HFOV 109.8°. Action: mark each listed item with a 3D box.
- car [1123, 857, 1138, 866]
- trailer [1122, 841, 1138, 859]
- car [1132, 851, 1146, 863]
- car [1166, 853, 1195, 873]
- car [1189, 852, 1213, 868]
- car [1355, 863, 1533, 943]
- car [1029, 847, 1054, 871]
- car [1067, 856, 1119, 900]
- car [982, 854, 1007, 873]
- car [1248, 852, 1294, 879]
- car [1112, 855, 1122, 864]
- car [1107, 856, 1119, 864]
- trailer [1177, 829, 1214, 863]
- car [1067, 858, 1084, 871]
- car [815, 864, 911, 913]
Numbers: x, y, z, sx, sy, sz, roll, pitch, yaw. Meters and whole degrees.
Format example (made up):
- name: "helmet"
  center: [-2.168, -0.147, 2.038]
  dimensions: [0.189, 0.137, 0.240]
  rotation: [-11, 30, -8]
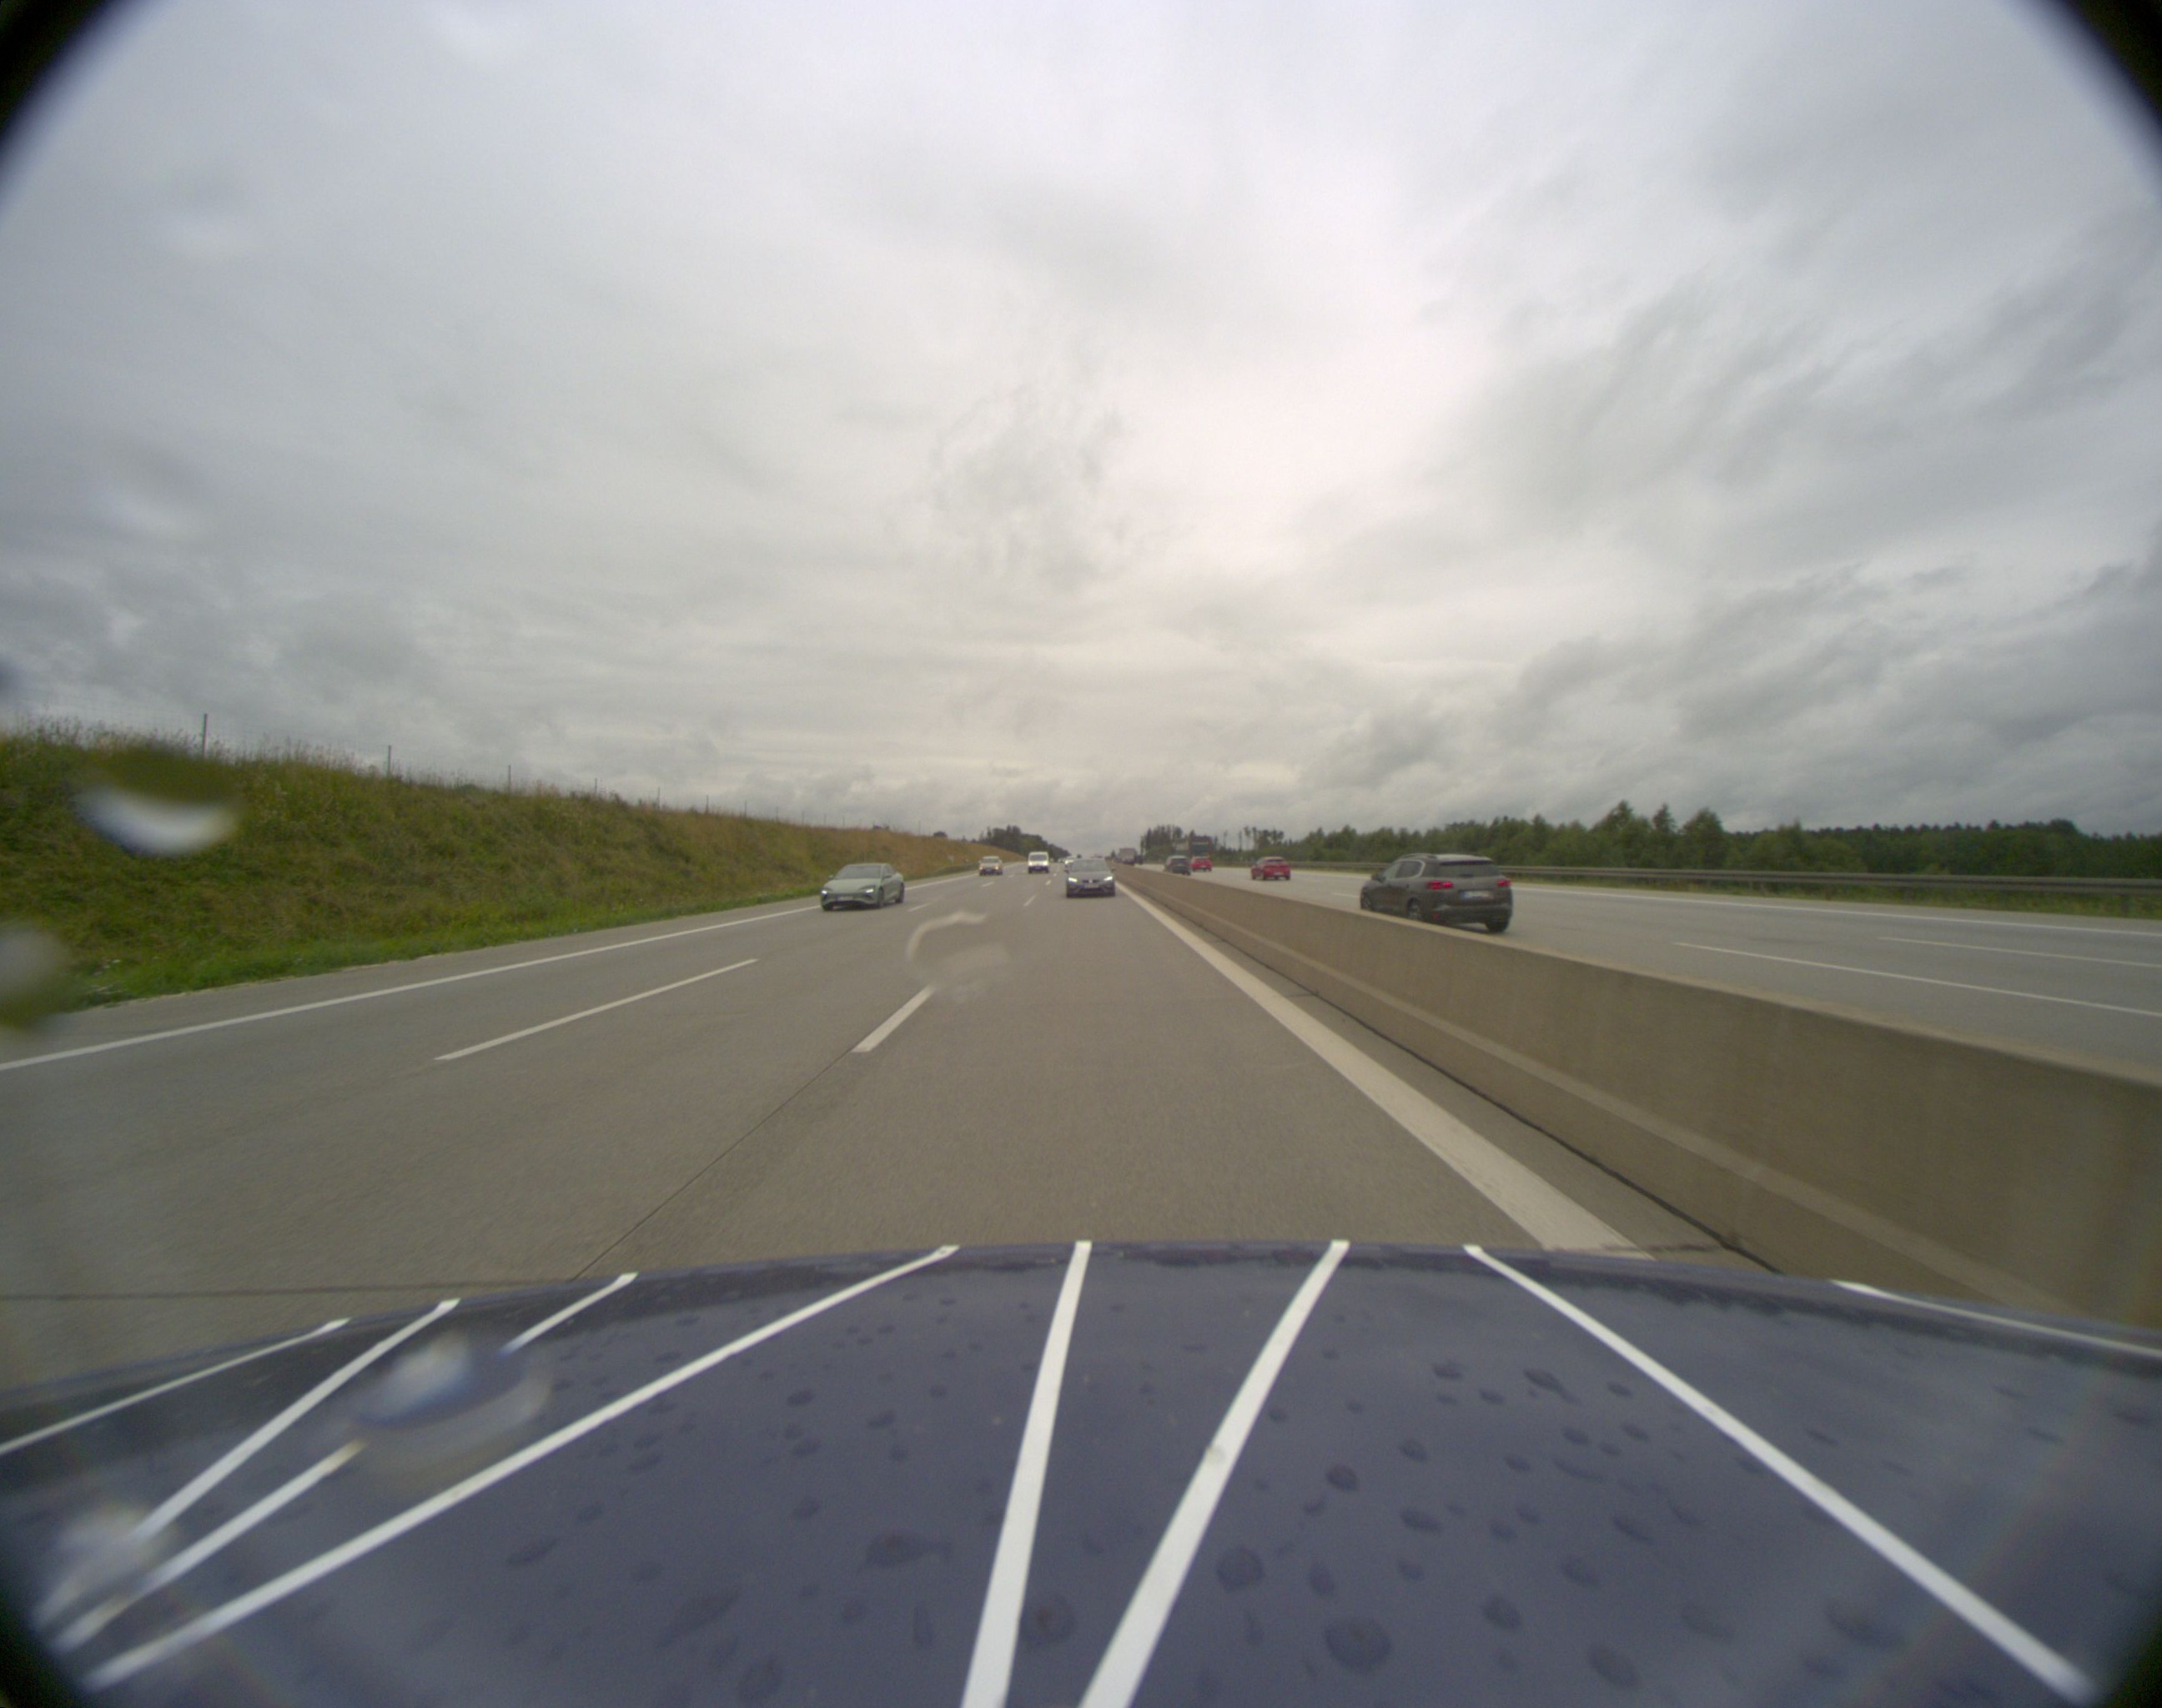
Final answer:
- name: "car"
  center: [7.162, 1.126, 110.811]
  dimensions: [1.776, 1.349, 4.366]
  rotation: [1, -1, -2]
- name: "trailer"
  center: [12.352, -0.929, 193.961]
  dimensions: [2.926, 4.192, 11.872]
  rotation: [1, -1, -2]
- name: "car"
  center: [10.256, 0.551, 135.095]
  dimensions: [1.999, 1.962, 5.330]
  rotation: [1, -1, -1]
- name: "car"
  center: [8.164, 0.742, 62.760]
  dimensions: [1.726, 1.578, 4.972]
  rotation: [0, -1, 0]
- name: "car"
  center: [11.730, 0.578, 74.440]
  dimensions: [1.522, 1.499, 4.487]
  rotation: [0, -1, 0]
- name: "car"
  center: [7.713, 0.953, 16.658]
  dimensions: [1.796, 1.409, 4.342]
  rotation: [-2, 0, 0]
- name: "car"
  center: [-3.637, 0.494, 70.286]
  dimensions: [2.043, 2.111, 6.068]
  rotation: [1, -1, -1]
- name: "car"
  center: [0.527, 0.844, 28.777]
  dimensions: [1.789, 1.472, 4.571]
  rotation: [-1, 0, 2]
- name: "car"
  center: [-7.581, 0.858, 67.075]
  dimensions: [1.790, 1.595, 4.570]
  rotation: [1, -1, -2]
- name: "car"
  center: [11.940, 0.708, 47.943]
  dimensions: [1.722, 1.499, 4.485]
  rotation: [0, 2, 0]
- name: "car"
  center: [8.623, 1.259, 182.244]
  dimensions: [1.919, 2.001, 5.924]
  rotation: [1, -1, -1]
- name: "car"
  center: [6.365, 1.127, 152.235]
  dimensions: [1.999, 1.510, 4.397]
  rotation: [1, -1, -2]
- name: "trailer"
  center: [15.355, -0.909, 102.815]
  dimensions: [2.772, 4.256, 12.167]
  rotation: [-2, -1, -2]
- name: "car"
  center: [-0.676, 1.344, 100.258]
  dimensions: [1.998, 1.632, 5.043]
  rotation: [1, -1, 1]
- name: "car"
  center: [-7.318, 1.109, 26.026]
  dimensions: [2.020, 1.437, 4.744]
  rotation: [-3, -1, -2]
